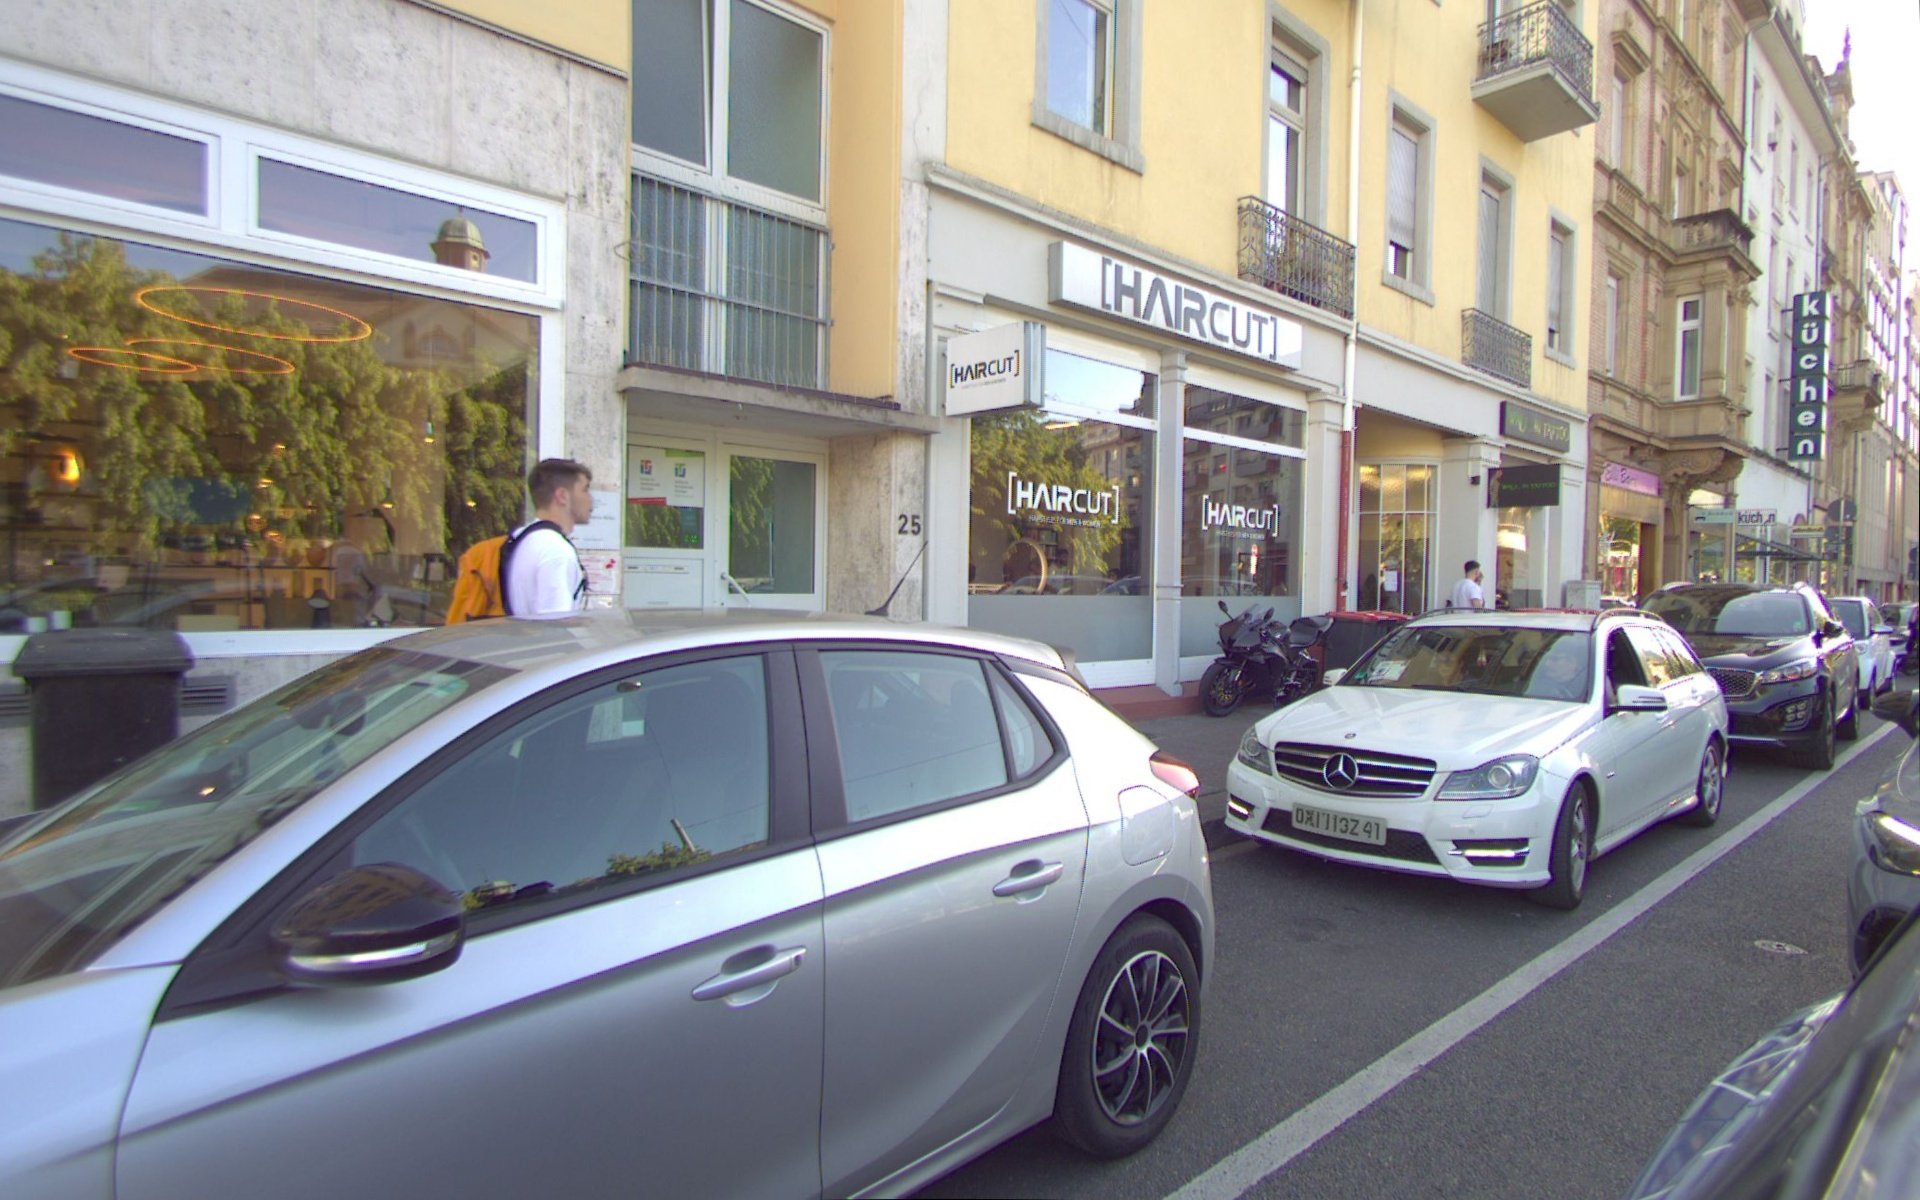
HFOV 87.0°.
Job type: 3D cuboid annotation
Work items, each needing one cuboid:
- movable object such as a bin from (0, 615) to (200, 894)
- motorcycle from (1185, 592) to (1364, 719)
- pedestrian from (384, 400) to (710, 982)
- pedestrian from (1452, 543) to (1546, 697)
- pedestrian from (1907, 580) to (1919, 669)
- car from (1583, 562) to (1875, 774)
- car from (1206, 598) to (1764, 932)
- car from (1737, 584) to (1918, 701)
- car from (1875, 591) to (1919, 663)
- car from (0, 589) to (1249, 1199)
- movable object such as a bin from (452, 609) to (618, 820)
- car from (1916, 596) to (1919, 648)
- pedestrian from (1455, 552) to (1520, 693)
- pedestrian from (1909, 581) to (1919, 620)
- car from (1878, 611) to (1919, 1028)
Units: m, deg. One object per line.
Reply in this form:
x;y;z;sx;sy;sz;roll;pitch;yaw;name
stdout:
-3.678;0.595;4.326;0.639;1.036;0.737;0;0;-41;movable object such as a bin
3.297;0.518;10.507;2.073;1.144;0.735;-1;5;-41;motorcycle
-1.568;0.275;3.824;0.964;1.845;0.811;0;2;-37;pedestrian
6.845;0.249;12.886;0.961;1.900;0.532;0;0;18;pedestrian
19.294;0.477;19.789;0.802;1.741;0.839;0;0;-17;pedestrian
8.005;0.526;10.370;4.338;1.711;1.802;-1;0;-45;car
3.529;0.704;6.391;4.301;1.389;1.671;-1;0;-41;car
12.766;0.542;14.856;2.945;1.542;1.582;-1;0;-41;car
21.893;0.561;22.813;3.736;1.509;1.691;-1;0;-45;car
-1.010;0.711;2.310;3.625;1.455;1.585;-1;0;-43;car
-2.331;0.576;5.540;0.639;1.036;0.737;0;0;-41;movable object such as a bin
26.605;0.569;26.931;3.306;1.334;1.459;-1;0;-42;car
7.235;0.296;13.877;0.627;1.859;0.760;0;0;41;pedestrian
45.186;0.020;47.511;0.809;1.782;0.825;0;0;-42;pedestrian
5.393;0.746;4.379;4.397;1.385;1.767;-1;1;-43;car
